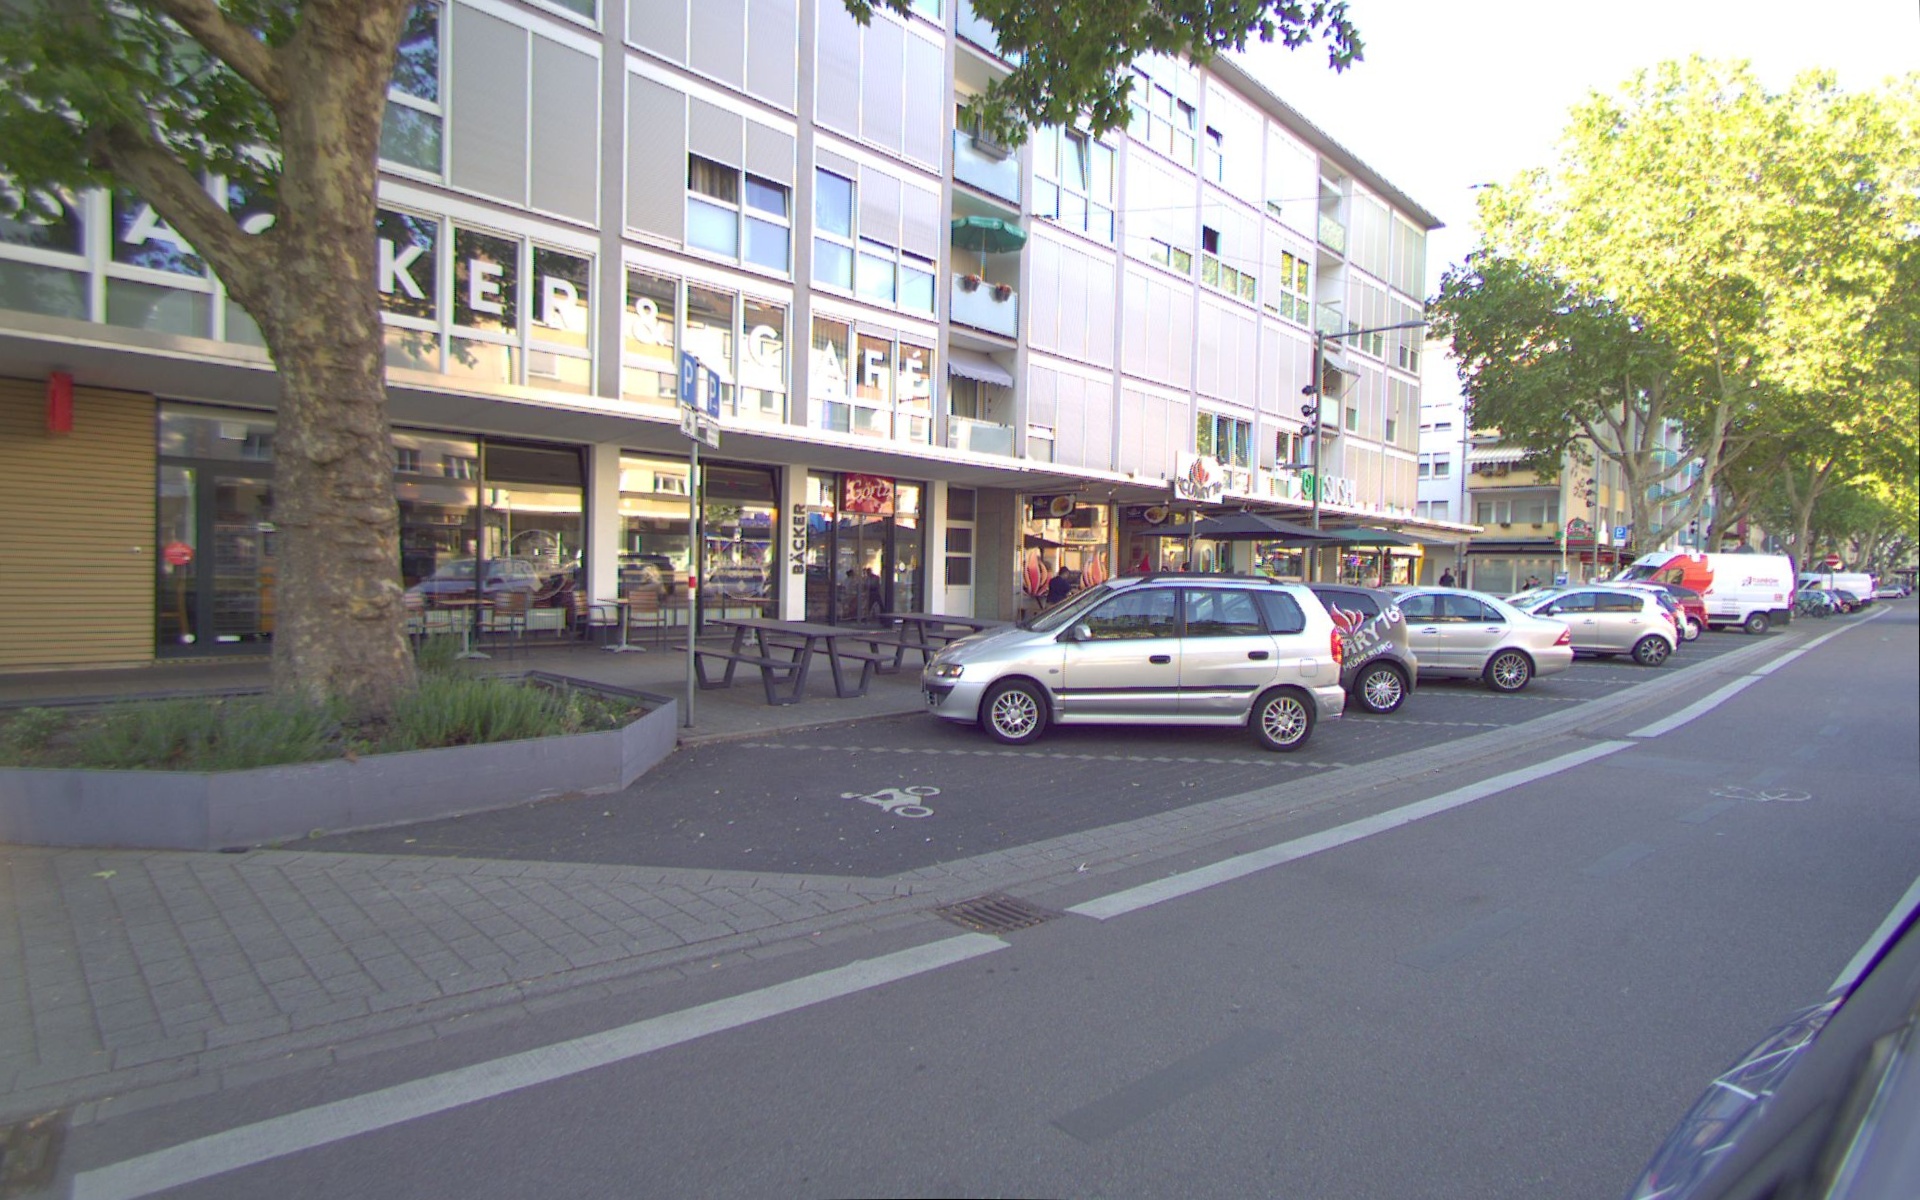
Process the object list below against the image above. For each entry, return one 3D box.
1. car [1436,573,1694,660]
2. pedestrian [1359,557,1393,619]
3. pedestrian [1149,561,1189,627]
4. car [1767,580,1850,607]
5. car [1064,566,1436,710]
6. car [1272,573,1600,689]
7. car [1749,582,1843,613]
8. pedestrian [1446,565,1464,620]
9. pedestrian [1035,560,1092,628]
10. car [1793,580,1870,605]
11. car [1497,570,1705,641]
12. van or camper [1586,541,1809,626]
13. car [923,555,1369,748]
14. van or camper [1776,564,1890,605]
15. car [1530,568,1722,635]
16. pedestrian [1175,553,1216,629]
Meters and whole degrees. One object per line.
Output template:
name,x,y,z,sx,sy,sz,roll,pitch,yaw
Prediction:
car,11.741,0.285,19.866,3.929,1.453,1.659,2,3,5
pedestrian,11.146,-0.319,27.090,0.537,1.610,0.676,5,4,44
pedestrian,4.687,-0.148,22.653,0.537,1.417,0.676,5,4,44
car,48.448,-0.402,57.858,3.271,1.363,1.530,2,3,5
car,3.388,0.407,12.347,3.921,1.525,1.811,1,2,-3
car,6.820,0.403,14.817,3.926,1.453,1.660,2,3,2
car,41.872,-0.151,50.743,3.271,1.363,1.530,2,3,5
pedestrian,18.303,-0.279,37.386,0.547,2.039,0.571,0,0,31
pedestrian,2.196,-0.137,21.431,0.945,1.379,0.750,0,2,-41
car,53.822,-0.476,62.540,3.271,1.363,1.530,2,3,5
car,15.747,0.109,25.023,3.929,1.541,1.659,2,3,5
van or camper,23.323,-0.546,32.198,5.366,2.499,1.998,1,2,5
car,1.633,0.431,9.890,3.921,1.626,1.811,1,2,-3
van or camper,56.115,-1.038,65.152,5.363,2.499,1.999,1,2,3
car,17.892,0.014,27.347,3.929,1.582,1.659,2,3,5
pedestrian,5.175,-0.203,22.241,0.537,1.610,0.676,5,4,44
